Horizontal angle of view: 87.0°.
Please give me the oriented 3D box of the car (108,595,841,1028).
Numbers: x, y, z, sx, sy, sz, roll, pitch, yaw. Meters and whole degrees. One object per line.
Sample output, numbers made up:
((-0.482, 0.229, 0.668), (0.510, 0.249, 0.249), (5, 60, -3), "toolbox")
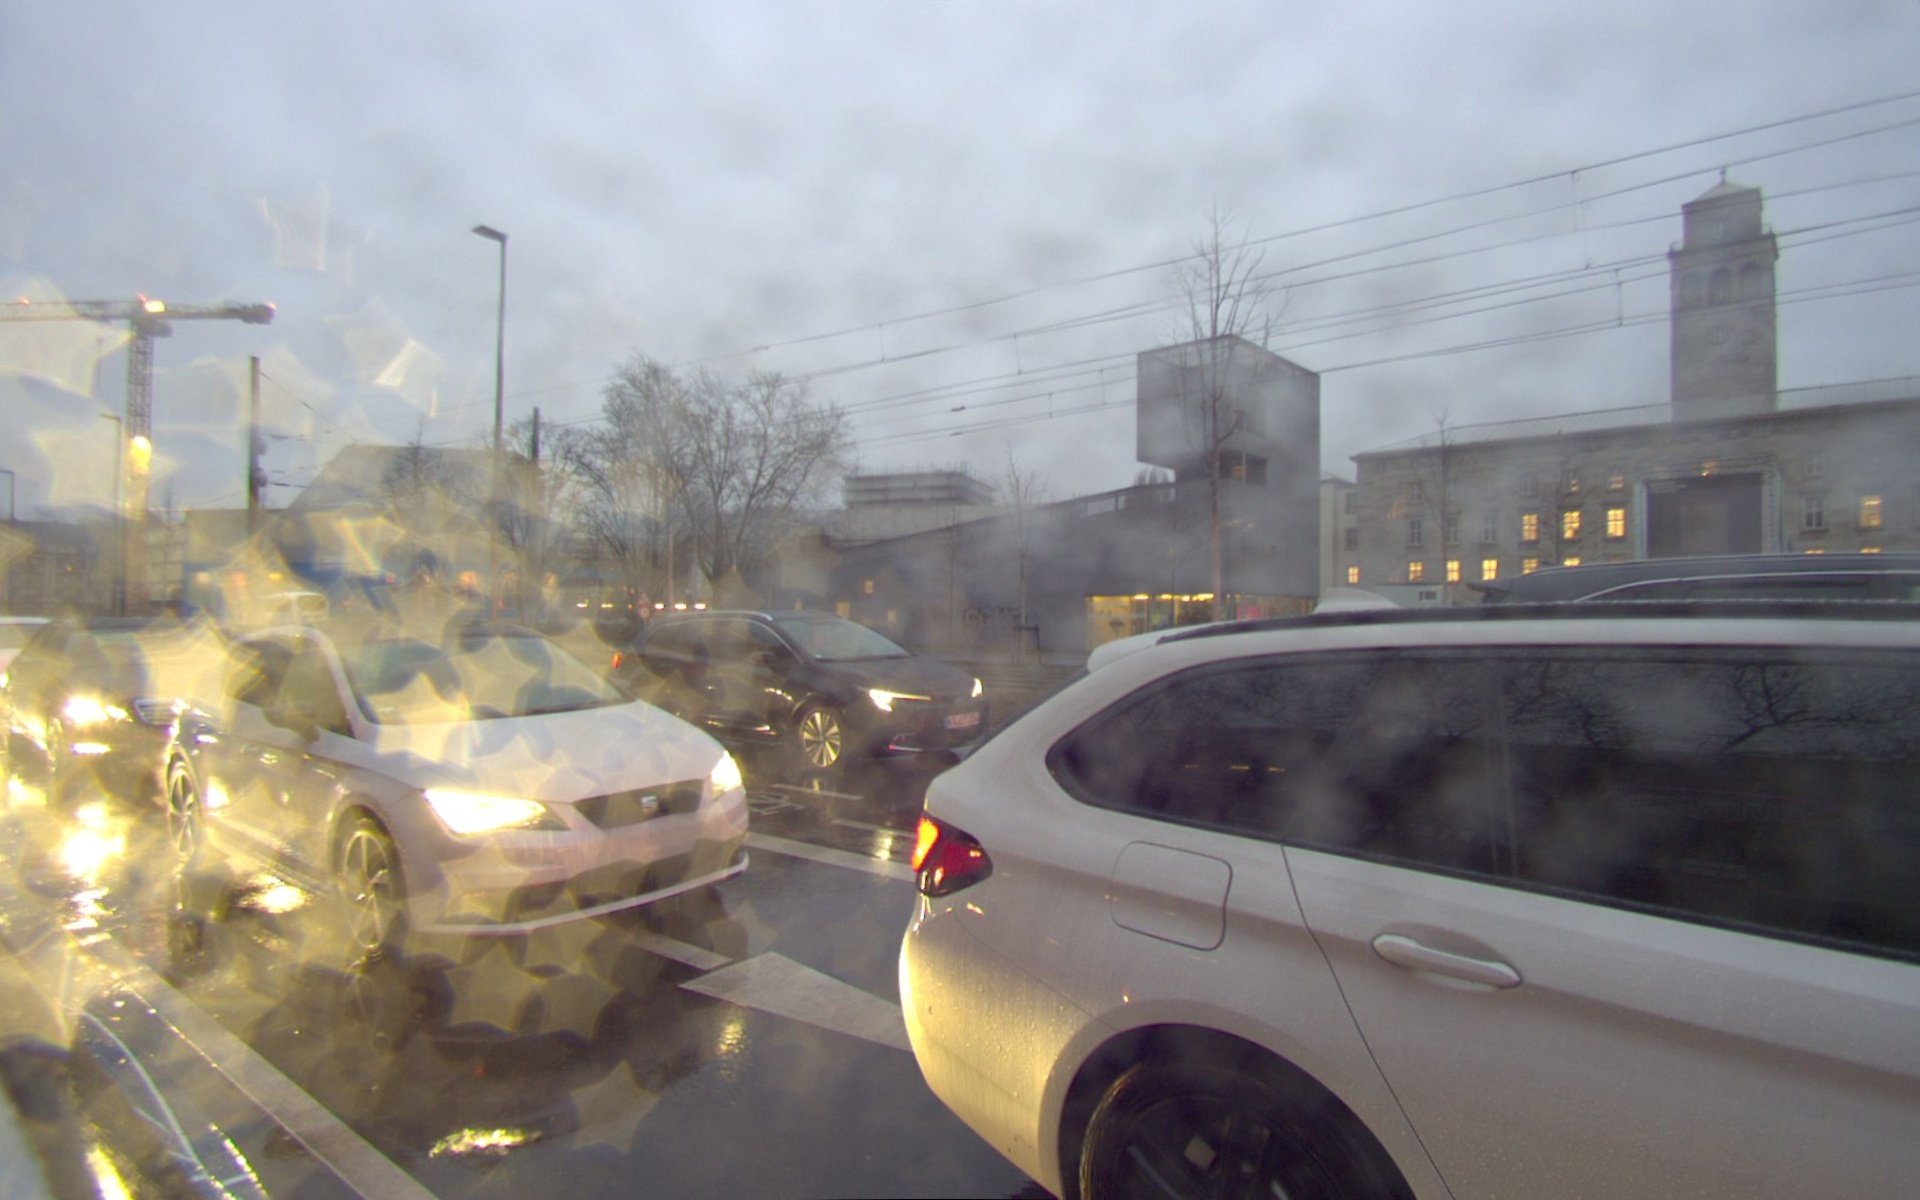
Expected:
((-2.957, 0.766, 5.693), (4.499, 1.498, 1.926), (-1, 0, 38), "car")

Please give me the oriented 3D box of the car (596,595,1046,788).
((-1.563, 0.748, 10.188), (4.659, 1.519, 1.830), (0, -1, 39), "car")

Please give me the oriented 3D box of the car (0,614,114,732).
((-14.436, 1.030, 15.339), (3.998, 1.586, 1.882), (-1, 0, 41), "car")

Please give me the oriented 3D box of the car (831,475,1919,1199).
((2.072, 0.620, 1.627), (4.557, 1.498, 1.996), (-1, -2, 41), "car")

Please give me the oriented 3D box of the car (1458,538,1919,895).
((5.103, 0.530, 5.112), (4.289, 1.596, 1.946), (-1, -1, 42), "car")

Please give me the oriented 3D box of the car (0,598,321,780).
((-8.598, 0.781, 10.537), (4.501, 1.498, 1.974), (-1, -2, 39), "car")

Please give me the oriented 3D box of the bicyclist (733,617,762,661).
((-8.706, 1.589, 41.473), (0.960, 1.746, 0.754), (1, 1, 38), "bicyclist")

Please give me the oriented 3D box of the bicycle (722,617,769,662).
((-8.799, 1.605, 41.544), (2.061, 1.746, 0.754), (1, 1, 39), "bicycle")
